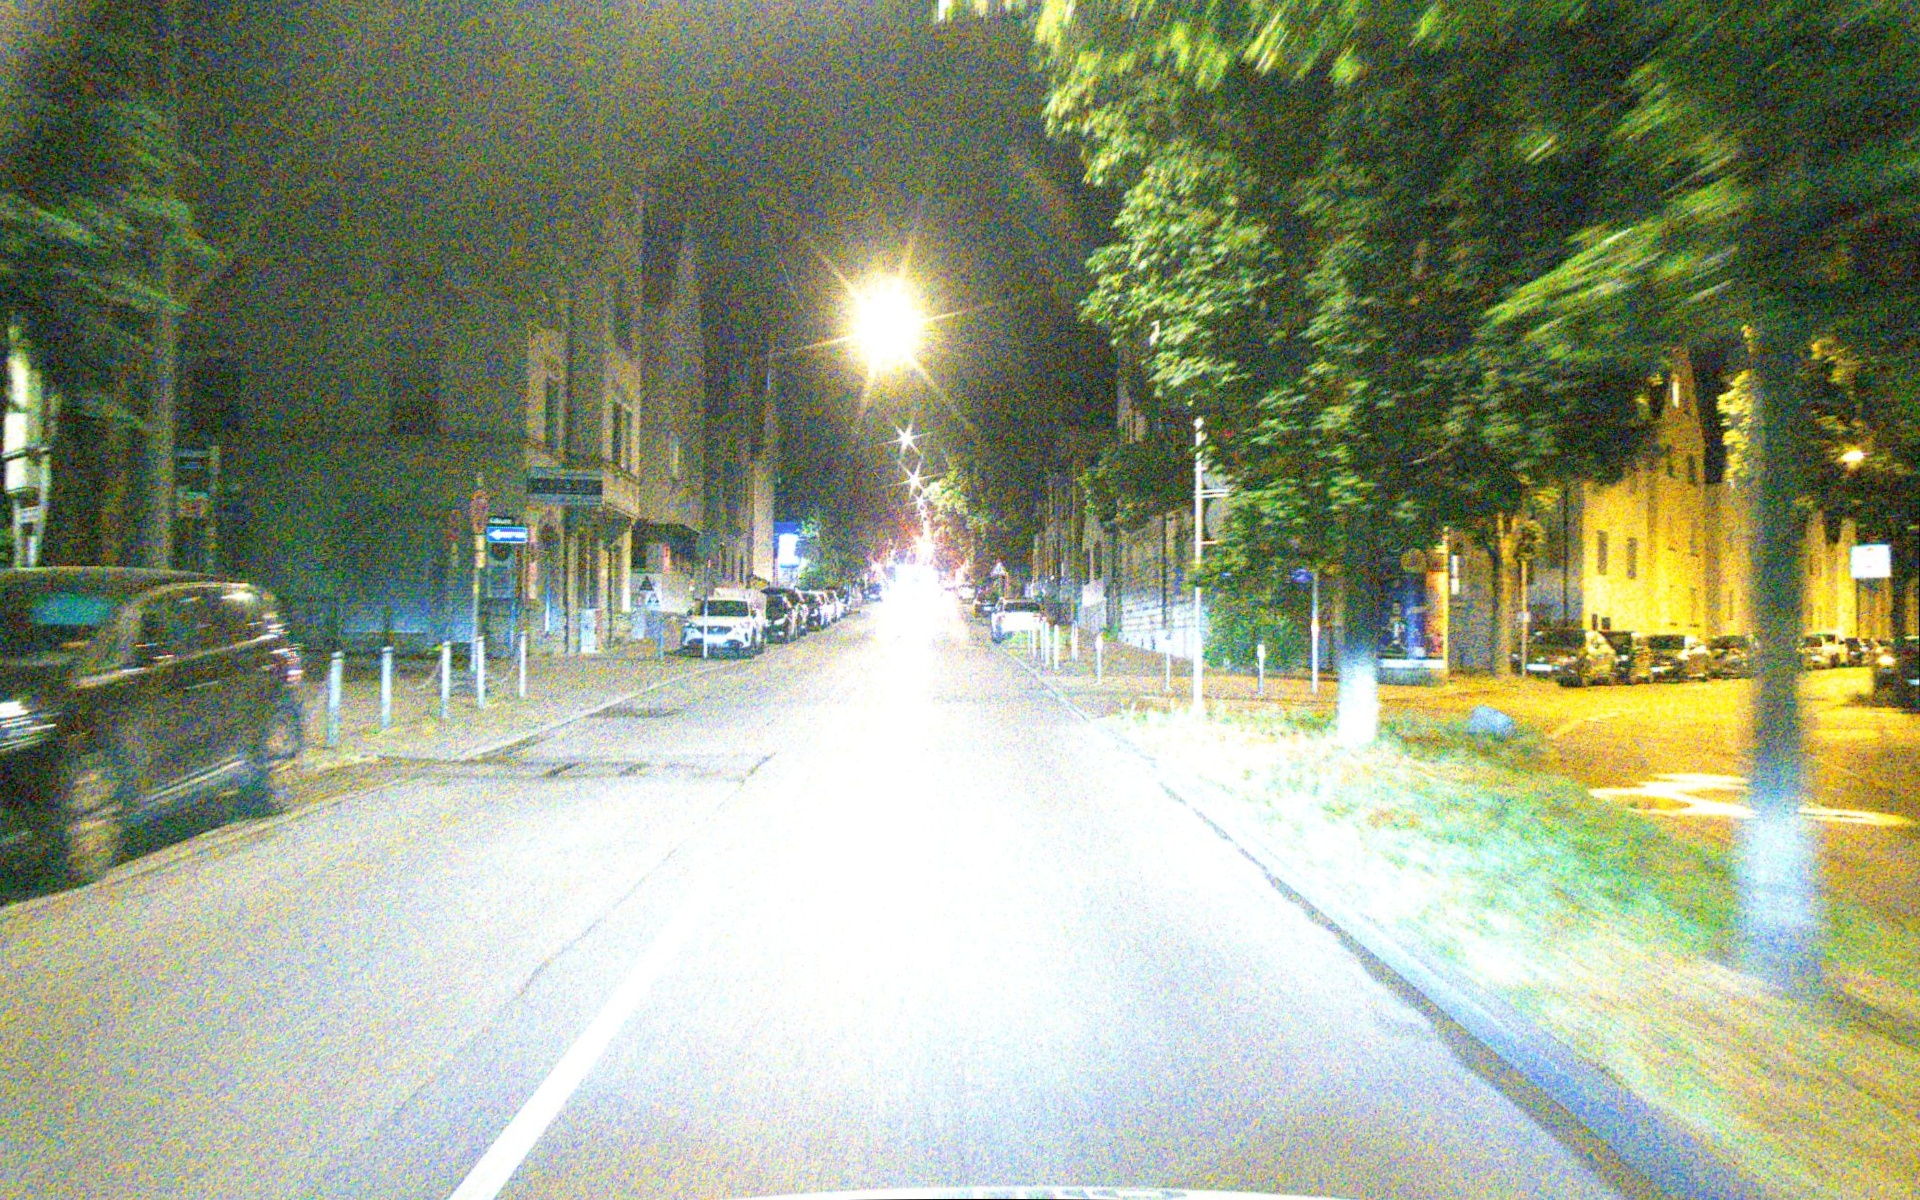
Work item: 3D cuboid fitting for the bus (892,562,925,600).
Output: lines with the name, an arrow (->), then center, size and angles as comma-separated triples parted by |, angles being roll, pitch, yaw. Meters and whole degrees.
bus -> -4.674, -1.776, 152.735 | 2.780, 3.233, 10.497 | 2, 1, -1

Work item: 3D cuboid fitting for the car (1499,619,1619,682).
car -> 14.785, 1.225, 40.723 | 1.767, 1.442, 3.822 | 1, 0, 36

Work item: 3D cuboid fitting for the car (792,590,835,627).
car -> -6.286, 0.355, 71.140 | 1.589, 1.518, 3.779 | 2, 0, -2

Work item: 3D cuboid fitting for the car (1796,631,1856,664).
car -> 40.916, 2.225, 78.078 | 1.742, 1.466, 3.899 | 1, 0, 39

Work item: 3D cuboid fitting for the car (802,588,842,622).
car -> -6.543, 0.219, 78.873 | 1.669, 1.517, 4.227 | -1, 1, -2

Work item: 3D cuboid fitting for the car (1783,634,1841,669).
car -> 38.128, 2.286, 73.985 | 1.740, 1.466, 3.904 | 1, 0, 36

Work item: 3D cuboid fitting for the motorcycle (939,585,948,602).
motorcycle -> -1.675, -0.651, 170.593 | 0.912, 1.782, 2.624 | 1, 0, -1

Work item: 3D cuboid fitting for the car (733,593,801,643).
car -> -6.122, 0.533, 52.833 | 1.798, 1.472, 4.543 | 0, 1, -2

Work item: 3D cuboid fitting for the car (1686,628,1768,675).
car -> 25.734, 1.708, 55.458 | 1.740, 1.442, 3.904 | 1, 0, 36

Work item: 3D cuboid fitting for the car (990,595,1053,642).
car -> 2.029, 0.598, 55.829 | 1.808, 1.442, 4.644 | -2, 0, -1

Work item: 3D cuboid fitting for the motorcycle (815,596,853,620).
motorcycle -> -6.321, 0.393, 83.122 | 0.710, 1.167, 2.174 | -1, 1, -43

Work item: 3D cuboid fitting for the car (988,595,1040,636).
car -> 1.981, 0.536, 61.517 | 1.735, 1.473, 4.018 | 0, 0, -1

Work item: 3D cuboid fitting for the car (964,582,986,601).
car -> 1.266, -0.761, 143.103 | 1.775, 1.622, 4.273 | -1, 1, -1

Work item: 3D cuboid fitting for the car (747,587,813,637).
car -> -6.274, 0.380, 57.999 | 1.797, 1.647, 4.544 | 2, 1, -1

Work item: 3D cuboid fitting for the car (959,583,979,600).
car -> 0.868, -0.825, 156.425 | 1.830, 1.553, 4.149 | -1, 1, -1

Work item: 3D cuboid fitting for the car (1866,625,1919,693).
car -> 21.787, 1.321, 37.418 | 1.767, 1.442, 3.822 | 1, 0, 36

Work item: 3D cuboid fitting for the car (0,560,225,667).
car -> -13.900, 0.179, 25.968 | 3.902, 1.450, 1.763 | 3, 0, 9

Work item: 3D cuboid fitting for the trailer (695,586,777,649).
trailer -> -6.292, 0.495, 46.793 | 1.603, 1.668, 3.440 | 2, 0, 4

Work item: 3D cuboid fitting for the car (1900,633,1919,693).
car -> 24.882, 1.583, 41.567 | 1.767, 1.442, 3.822 | 1, 0, 36

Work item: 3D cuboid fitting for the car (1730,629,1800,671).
car -> 31.129, 1.911, 63.934 | 1.740, 1.527, 3.904 | 1, 0, 36

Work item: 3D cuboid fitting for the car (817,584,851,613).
car -> -6.880, -0.064, 90.619 | 1.605, 1.524, 2.765 | 1, 0, 1

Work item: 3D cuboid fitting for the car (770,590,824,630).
car -> -6.517, 0.394, 66.477 | 1.826, 1.518, 4.279 | 2, 0, -2

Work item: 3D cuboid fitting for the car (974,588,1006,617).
car -> 1.677, 0.127, 94.266 | 1.727, 1.502, 4.080 | -1, 1, -1

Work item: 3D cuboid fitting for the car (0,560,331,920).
car -> -5.457, 0.632, 9.976 | 1.812, 1.679, 4.667 | 1, 0, -4

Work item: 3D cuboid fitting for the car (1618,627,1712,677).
car -> 21.388, 1.567, 50.081 | 1.740, 1.364, 3.904 | 3, 0, 36

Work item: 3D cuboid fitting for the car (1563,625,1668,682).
car -> 18.115, 1.449, 45.619 | 1.767, 1.442, 3.822 | 1, 0, 36

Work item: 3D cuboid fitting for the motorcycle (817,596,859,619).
motorcycle -> -6.297, 0.365, 85.141 | 2.162, 1.150, 0.714 | 1, 1, 32

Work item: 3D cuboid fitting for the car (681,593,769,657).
car -> -5.938, 0.602, 42.174 | 1.778, 1.510, 4.346 | 1, 0, -2

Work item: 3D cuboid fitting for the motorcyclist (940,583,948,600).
motorcyclist -> -1.673, -0.858, 170.596 | 0.831, 1.782, 0.805 | 1, 0, -1
